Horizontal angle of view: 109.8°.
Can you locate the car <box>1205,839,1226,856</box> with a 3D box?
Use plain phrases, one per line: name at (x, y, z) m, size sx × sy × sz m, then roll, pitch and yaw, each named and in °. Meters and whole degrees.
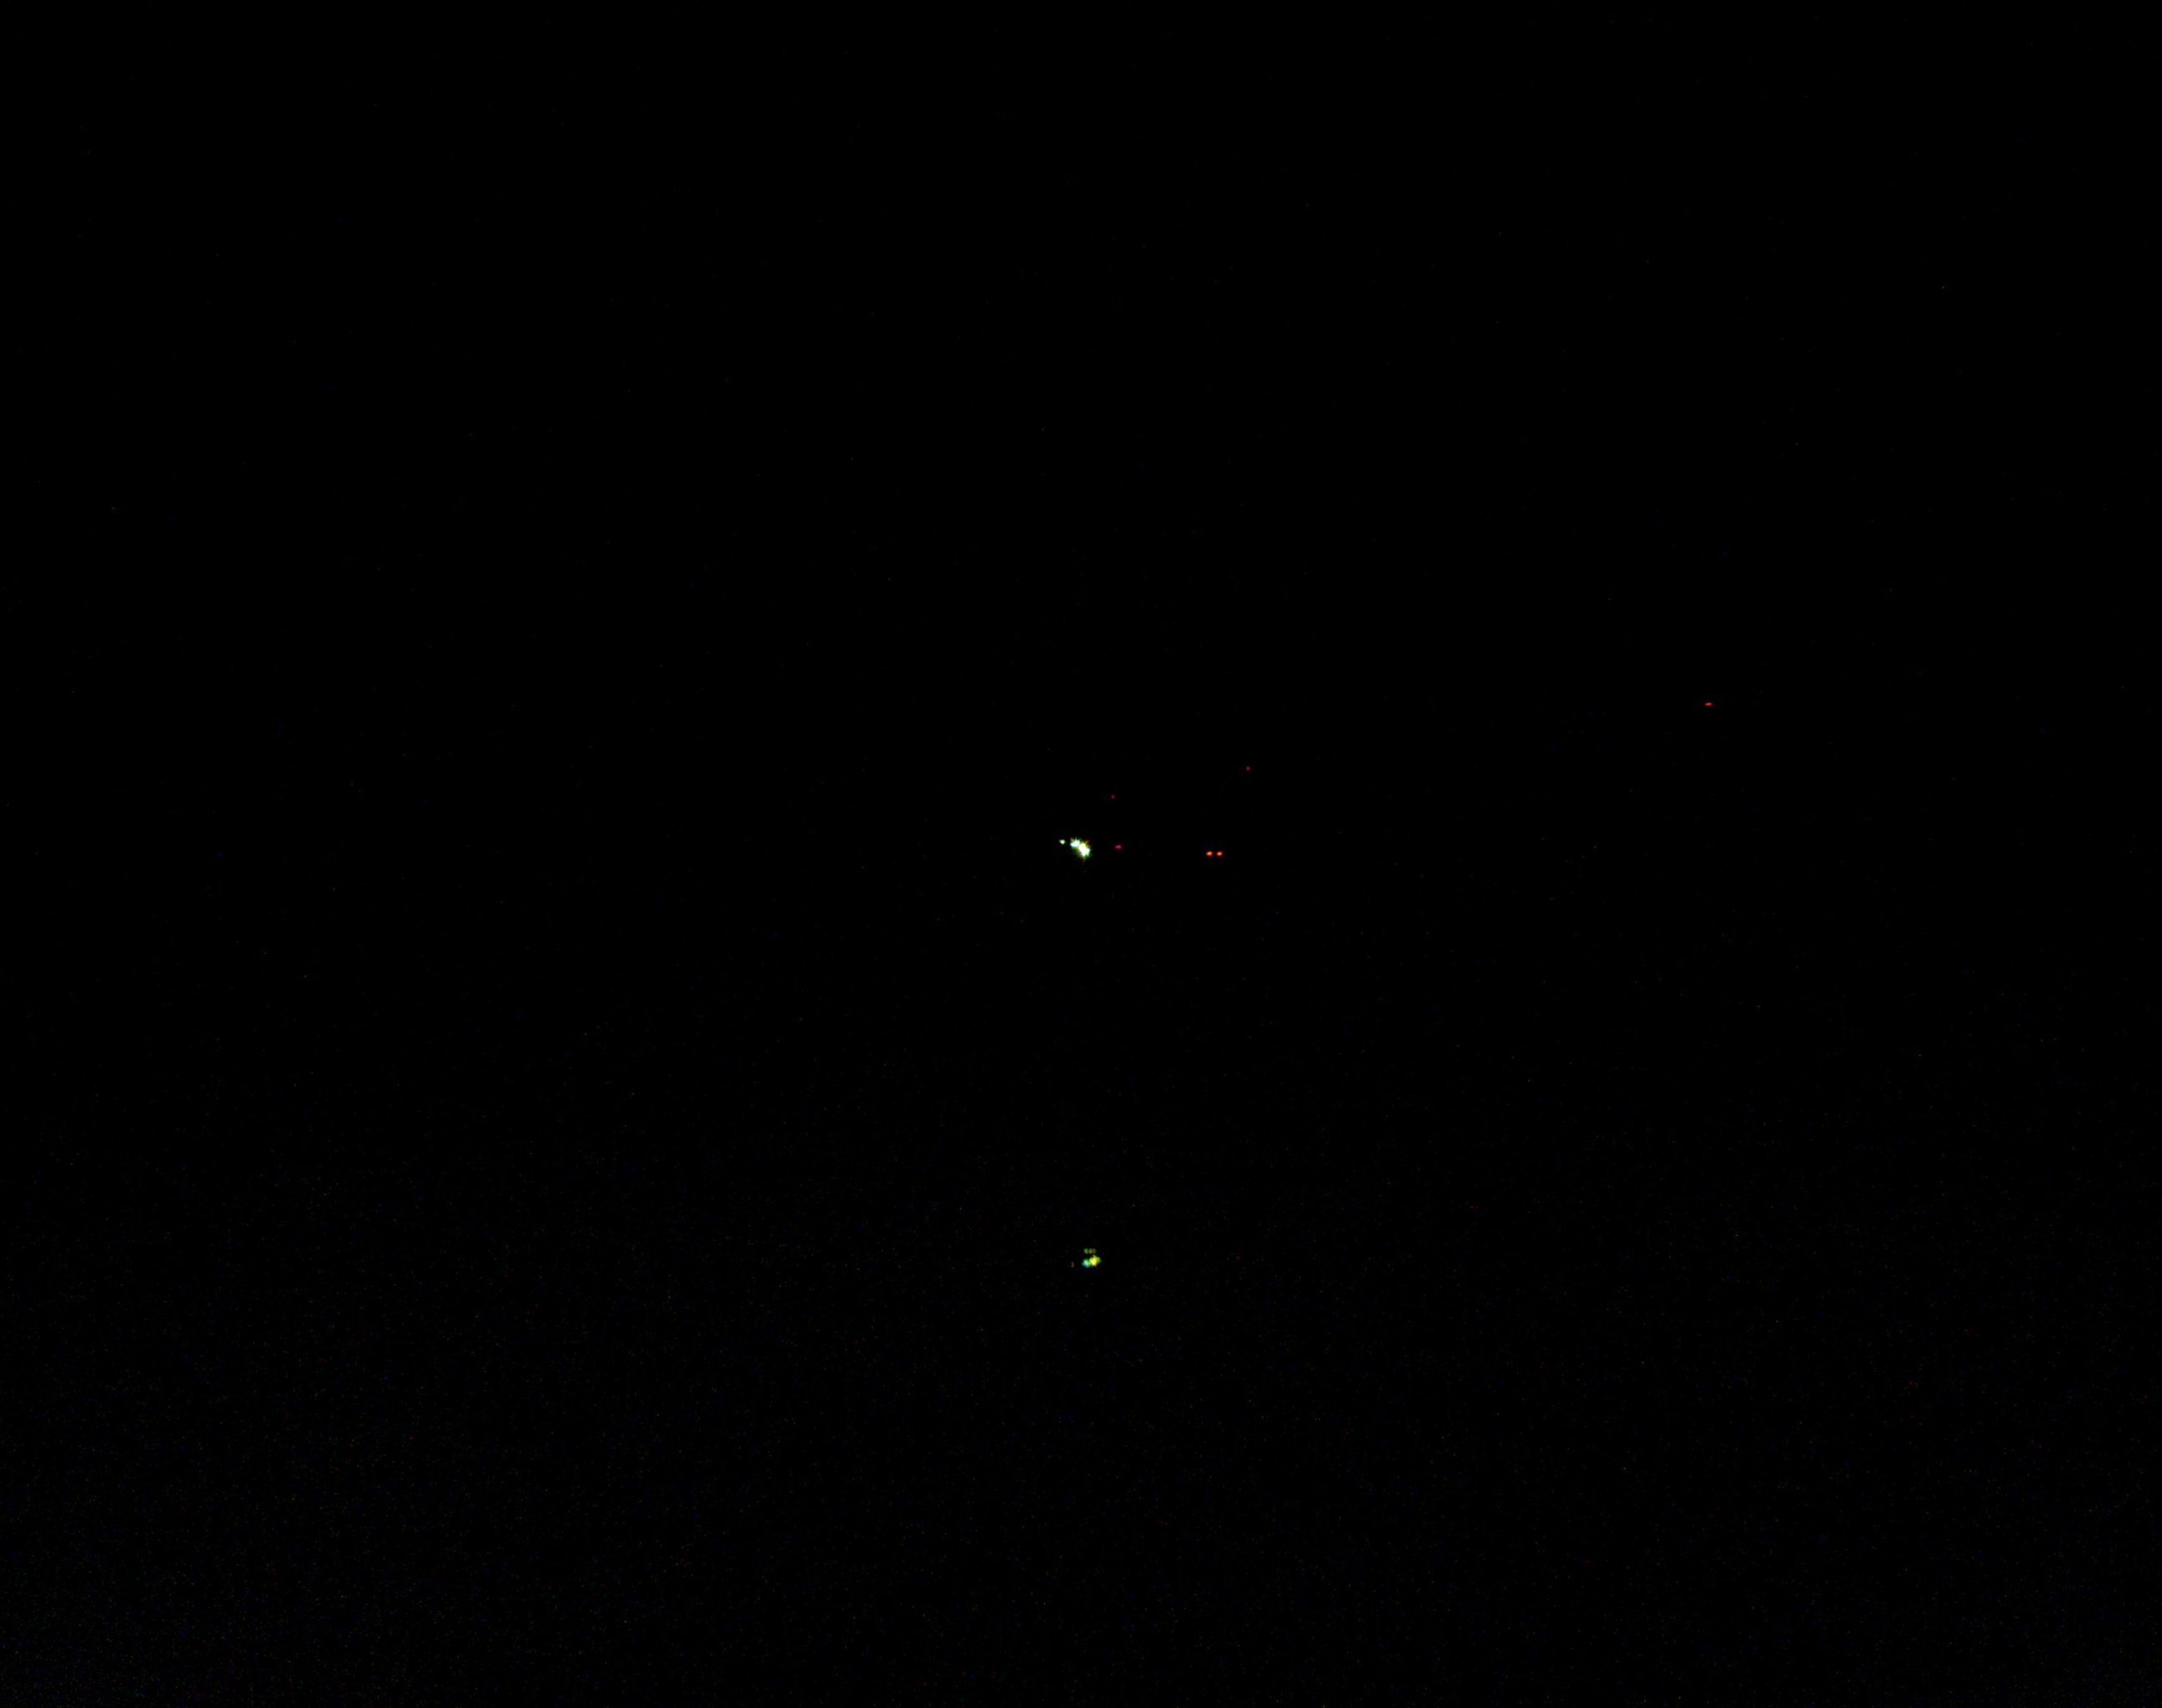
car at (25.015, -1.209, 141.783) m, size 2.853 × 2.921 × 6.600 m, roll -2°, pitch 1°, yaw 1°
